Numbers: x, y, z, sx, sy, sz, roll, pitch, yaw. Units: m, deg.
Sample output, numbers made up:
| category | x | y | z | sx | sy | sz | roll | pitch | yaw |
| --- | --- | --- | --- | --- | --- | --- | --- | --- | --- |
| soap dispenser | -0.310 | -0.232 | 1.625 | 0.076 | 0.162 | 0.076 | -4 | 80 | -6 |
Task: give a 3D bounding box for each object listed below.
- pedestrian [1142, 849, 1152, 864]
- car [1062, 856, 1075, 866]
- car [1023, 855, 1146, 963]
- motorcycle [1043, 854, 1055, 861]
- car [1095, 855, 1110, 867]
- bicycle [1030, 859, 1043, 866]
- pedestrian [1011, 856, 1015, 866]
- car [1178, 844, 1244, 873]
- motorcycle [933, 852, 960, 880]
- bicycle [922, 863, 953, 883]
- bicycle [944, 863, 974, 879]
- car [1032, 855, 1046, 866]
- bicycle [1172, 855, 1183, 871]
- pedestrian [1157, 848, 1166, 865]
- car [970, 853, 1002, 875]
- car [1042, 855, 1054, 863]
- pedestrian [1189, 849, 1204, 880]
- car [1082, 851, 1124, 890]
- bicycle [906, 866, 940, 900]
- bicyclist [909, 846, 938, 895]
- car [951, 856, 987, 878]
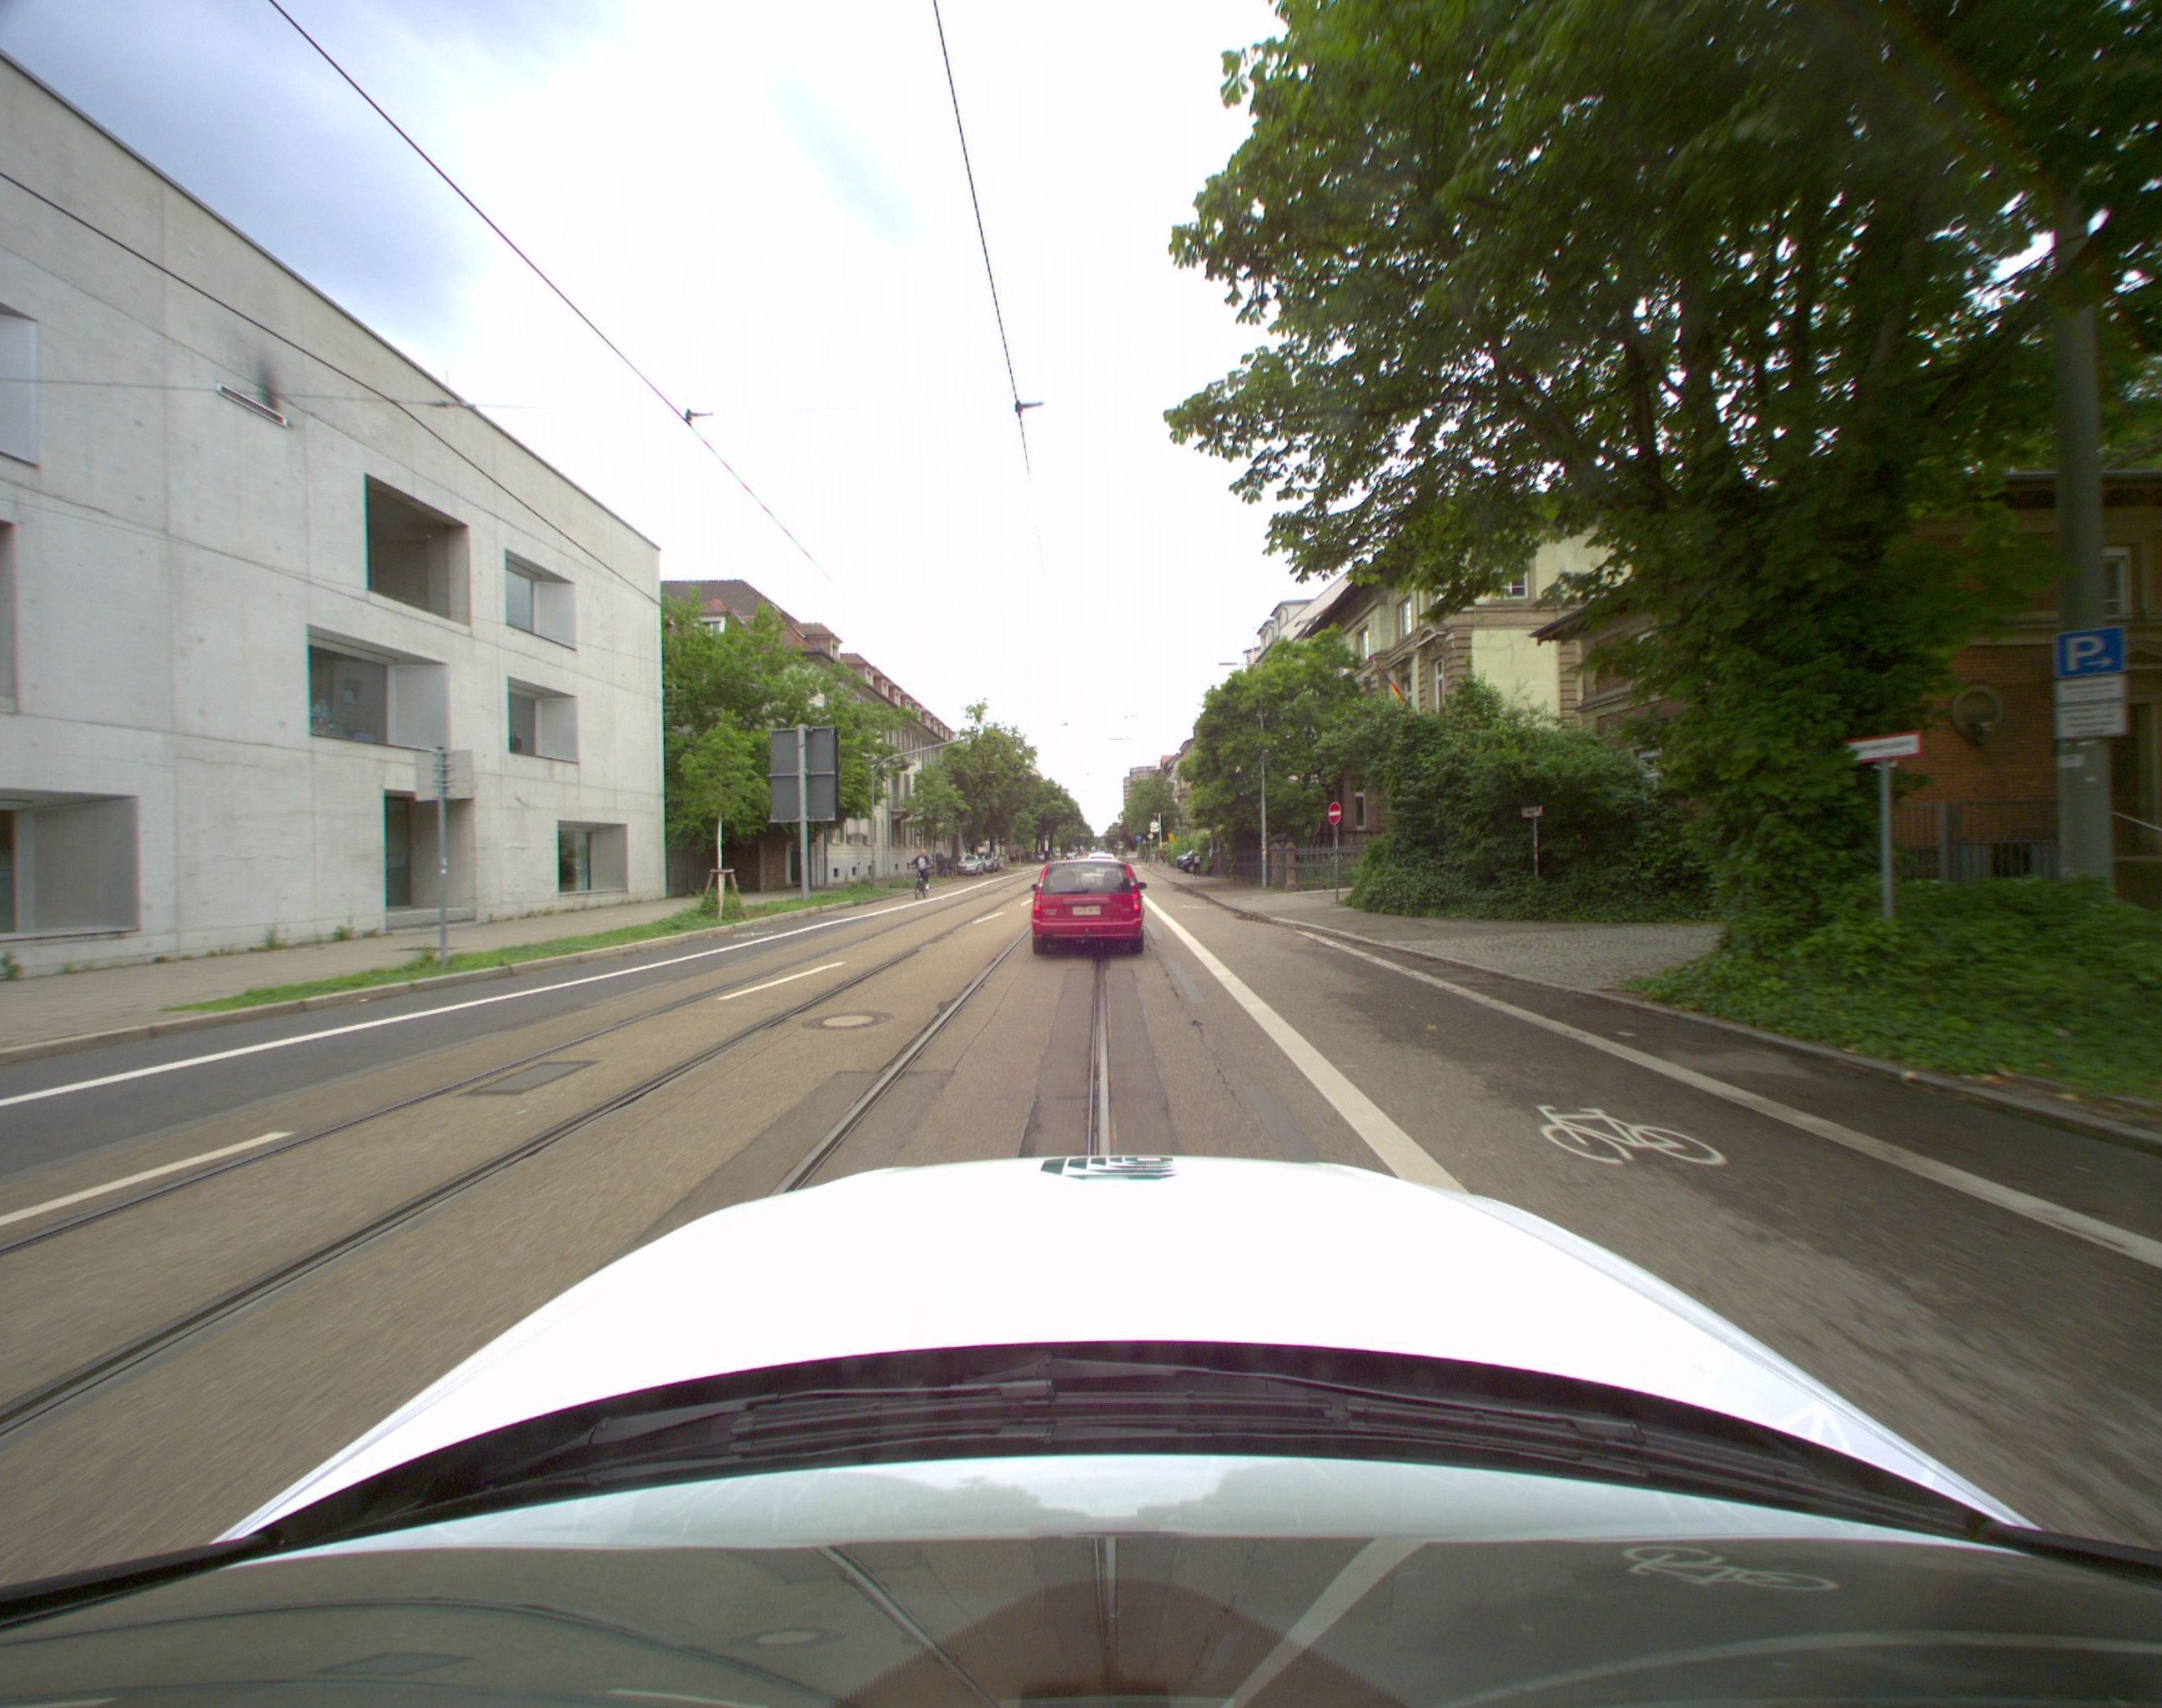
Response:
| category | x | y | z | sx | sy | sz | roll | pitch | yaw |
| --- | --- | --- | --- | --- | --- | --- | --- | --- | --- |
| pedestrian | 7.334 | 0.271 | 90.427 | 0.867 | 1.656 | 0.912 | -1 | 0 | 13 |
| car | -1.805 | 1.063 | 119.228 | 1.723 | 1.408 | 3.656 | -1 | 0 | 1 |
| car | 0.117 | 0.762 | 13.154 | 1.682 | 1.441 | 3.745 | -1 | 0 | 2 |
| motorcycle | -6.442 | 0.727 | 164.806 | 2.243 | 1.511 | 0.932 | -2 | -2 | 36 |
| car | 2.909 | 0.892 | 110.697 | 1.736 | 1.606 | 3.998 | -1 | 0 | -1 |
| bicycle | -6.621 | 1.267 | 120.346 | 1.915 | 1.121 | 0.624 | 0 | 0 | 0 |
| pedestrian | -9.532 | 0.996 | 114.122 | 0.562 | 1.467 | 0.723 | -1 | 0 | 1 |
| car | 8.909 | 0.301 | 56.247 | 4.263 | 1.809 | 1.825 | -3 | 0 | 2 |
| motorcycle | -8.318 | 0.718 | 50.381 | 0.827 | 1.643 | 2.486 | -1 | 0 | 9 |
| bicycle | -8.466 | 1.138 | 48.086 | 1.727 | 1.129 | 0.520 | -1 | 0 | 19 |
| bicycle | -8.086 | 1.135 | 54.063 | 1.890 | 1.027 | 0.563 | -1 | 0 | -4 |
| car | -6.408 | 0.984 | 124.185 | 1.891 | 1.655 | 4.225 | -1 | 0 | 0 |
| bicycle | 7.429 | 0.696 | 62.657 | 0.630 | 1.127 | 1.812 | -3 | 1 | 1 |
| pedestrian | 8.217 | 0.235 | 82.777 | 0.790 | 1.636 | 0.836 | -3 | -1 | 1 |
| car | -7.634 | 0.758 | 65.902 | 1.830 | 1.661 | 4.296 | 1 | 0 | 2 |
| car | -5.836 | 0.860 | 143.310 | 1.770 | 1.511 | 4.240 | 0 | 0 | 2 |
| pedestrian | 6.433 | 0.553 | 45.434 | 0.621 | 1.671 | 0.960 | -4 | 0 | 0 |
| car | 1.010 | 0.686 | 36.043 | 1.711 | 1.625 | 3.944 | -1 | 0 | 3 |
| bicycle | -5.886 | 1.060 | 30.413 | 0.788 | 1.186 | 2.011 | -2 | 0 | 2 |
| bicyclist | -5.895 | 0.621 | 30.525 | 0.788 | 1.783 | 1.148 | -1 | 0 | 1 |
| car | -7.856 | 0.909 | 57.459 | 1.805 | 1.466 | 4.614 | 0 | 0 | 1 |
